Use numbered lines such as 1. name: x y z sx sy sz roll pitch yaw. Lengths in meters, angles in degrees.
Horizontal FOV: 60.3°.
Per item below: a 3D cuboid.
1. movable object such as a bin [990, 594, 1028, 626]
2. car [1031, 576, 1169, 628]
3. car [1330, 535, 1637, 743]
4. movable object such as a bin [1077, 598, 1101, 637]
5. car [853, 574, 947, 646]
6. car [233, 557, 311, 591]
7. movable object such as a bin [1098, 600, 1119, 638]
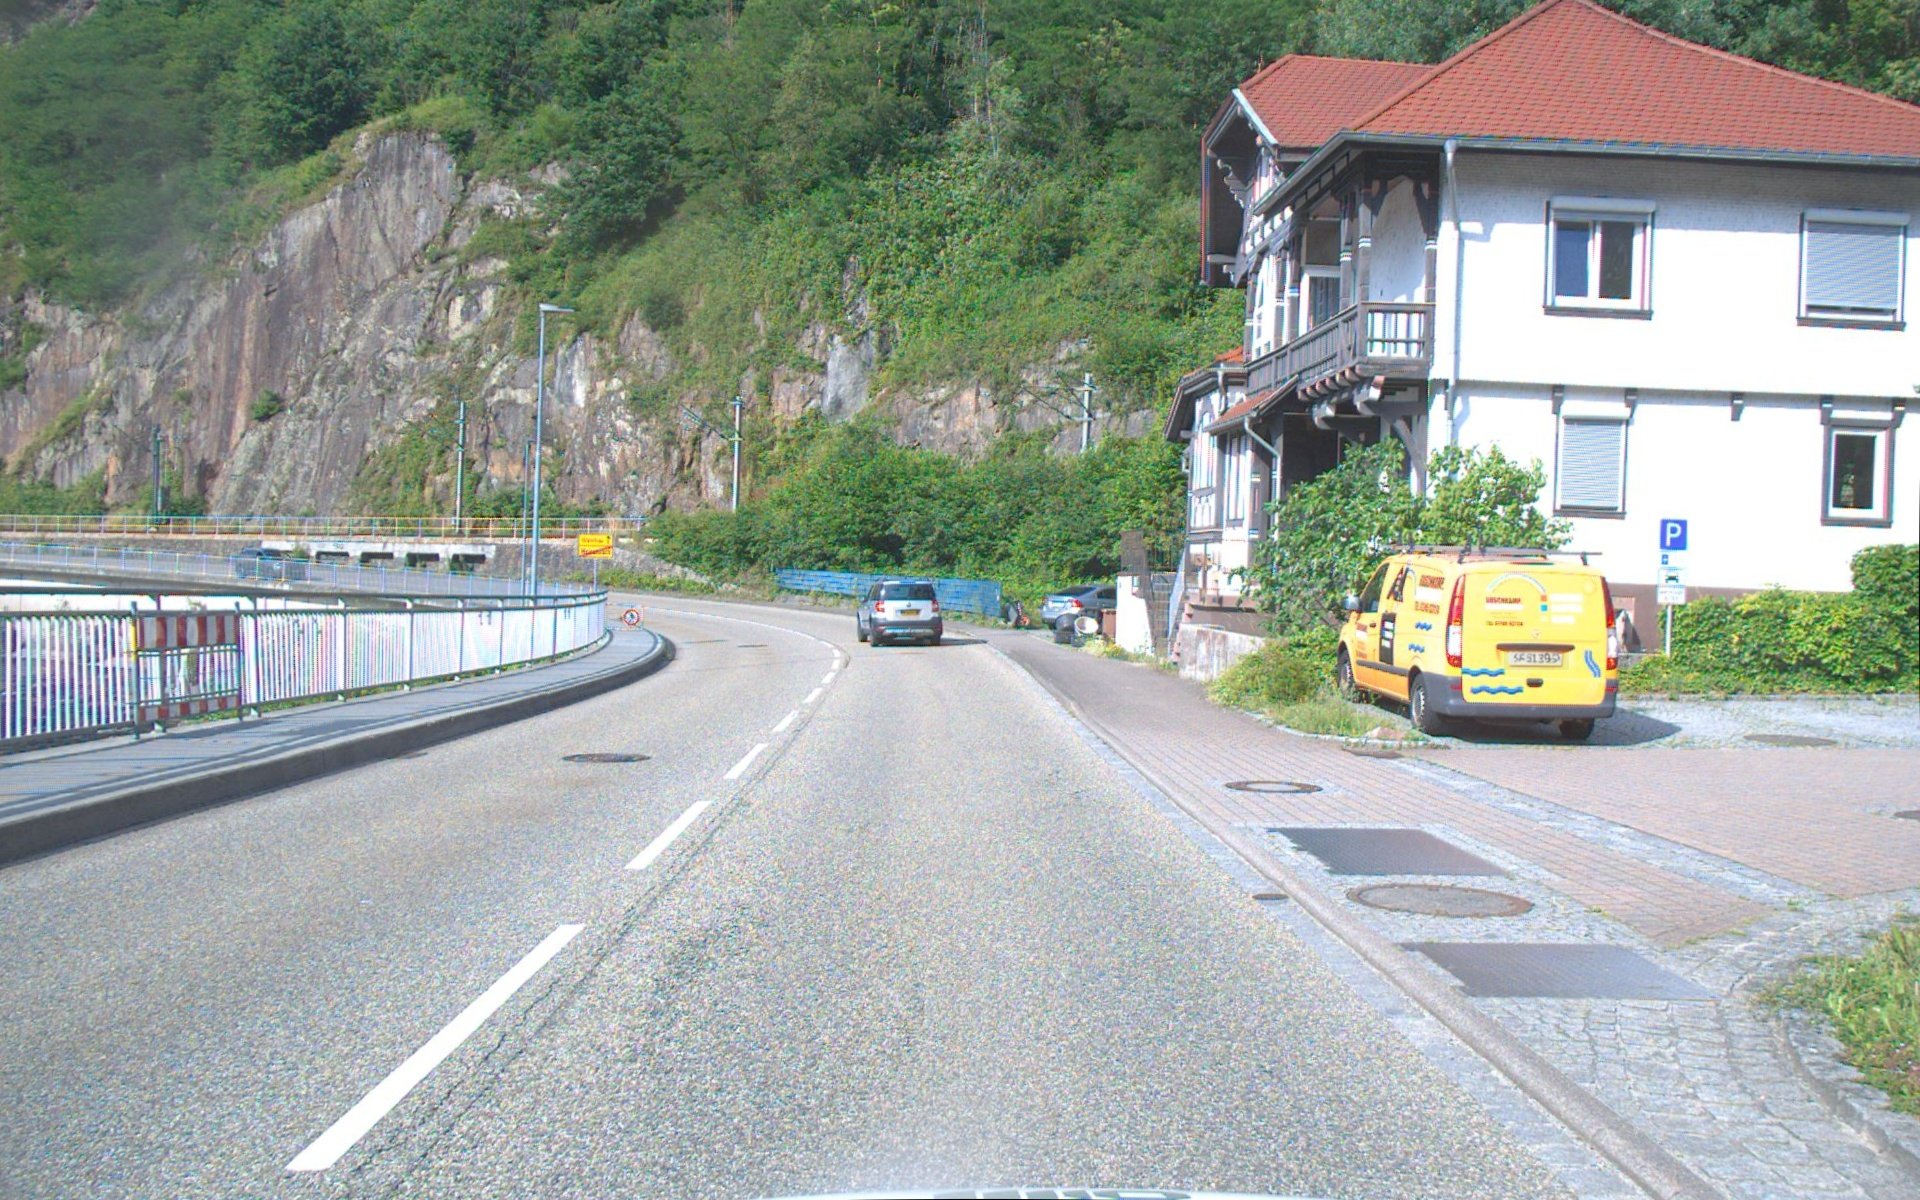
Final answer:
1. movable object such as a bin: 1.499 0.303 50.933 0.838 0.862 2.536 3 1 -5
2. car: 4.261 0.083 49.988 4.296 1.495 1.808 1 0 -44
3. car: 5.716 0.358 18.756 1.870 2.032 4.834 1 1 -1
4. movable object such as a bin: 3.272 0.432 41.982 0.462 0.953 0.652 2 1 -6
5. car: -1.567 0.201 41.734 1.839 1.684 3.991 -1 1 -10
6. car: -36.601 -1.387 87.943 3.914 1.672 1.817 2 0 31
7. movable object such as a bin: 3.762 0.478 41.913 0.361 0.915 0.546 2 1 -12
